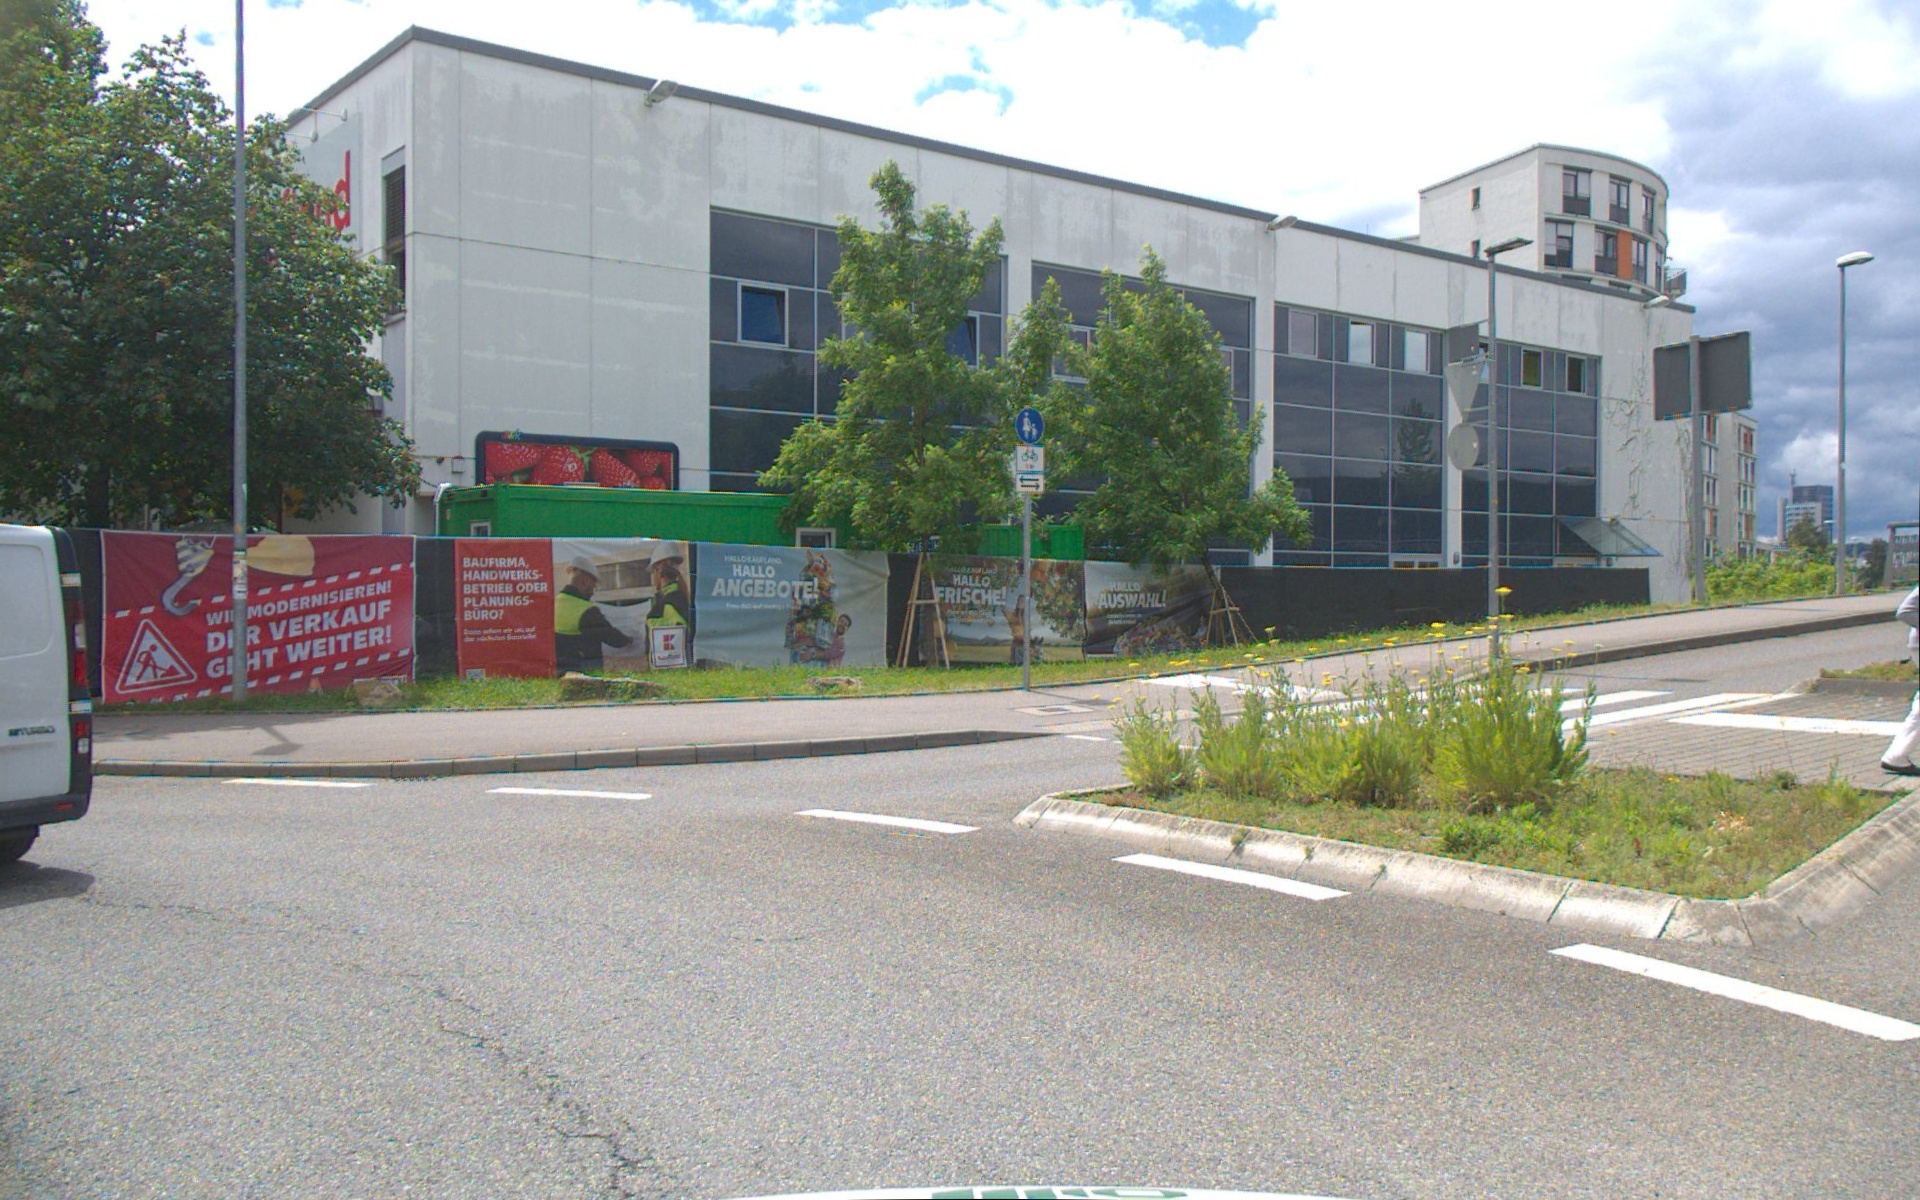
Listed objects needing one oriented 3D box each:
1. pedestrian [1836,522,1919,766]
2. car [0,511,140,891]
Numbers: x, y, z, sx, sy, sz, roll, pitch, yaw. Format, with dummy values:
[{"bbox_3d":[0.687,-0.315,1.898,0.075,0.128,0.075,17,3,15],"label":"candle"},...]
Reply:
[{"bbox_3d":[6.437,0.288,10.980,1.013,1.568,0.894,1,-1,24],"label":"pedestrian"},{"bbox_3d":[-7.216,0.479,9.624,4.885,1.979,2.037,1,0,31],"label":"car"}]
